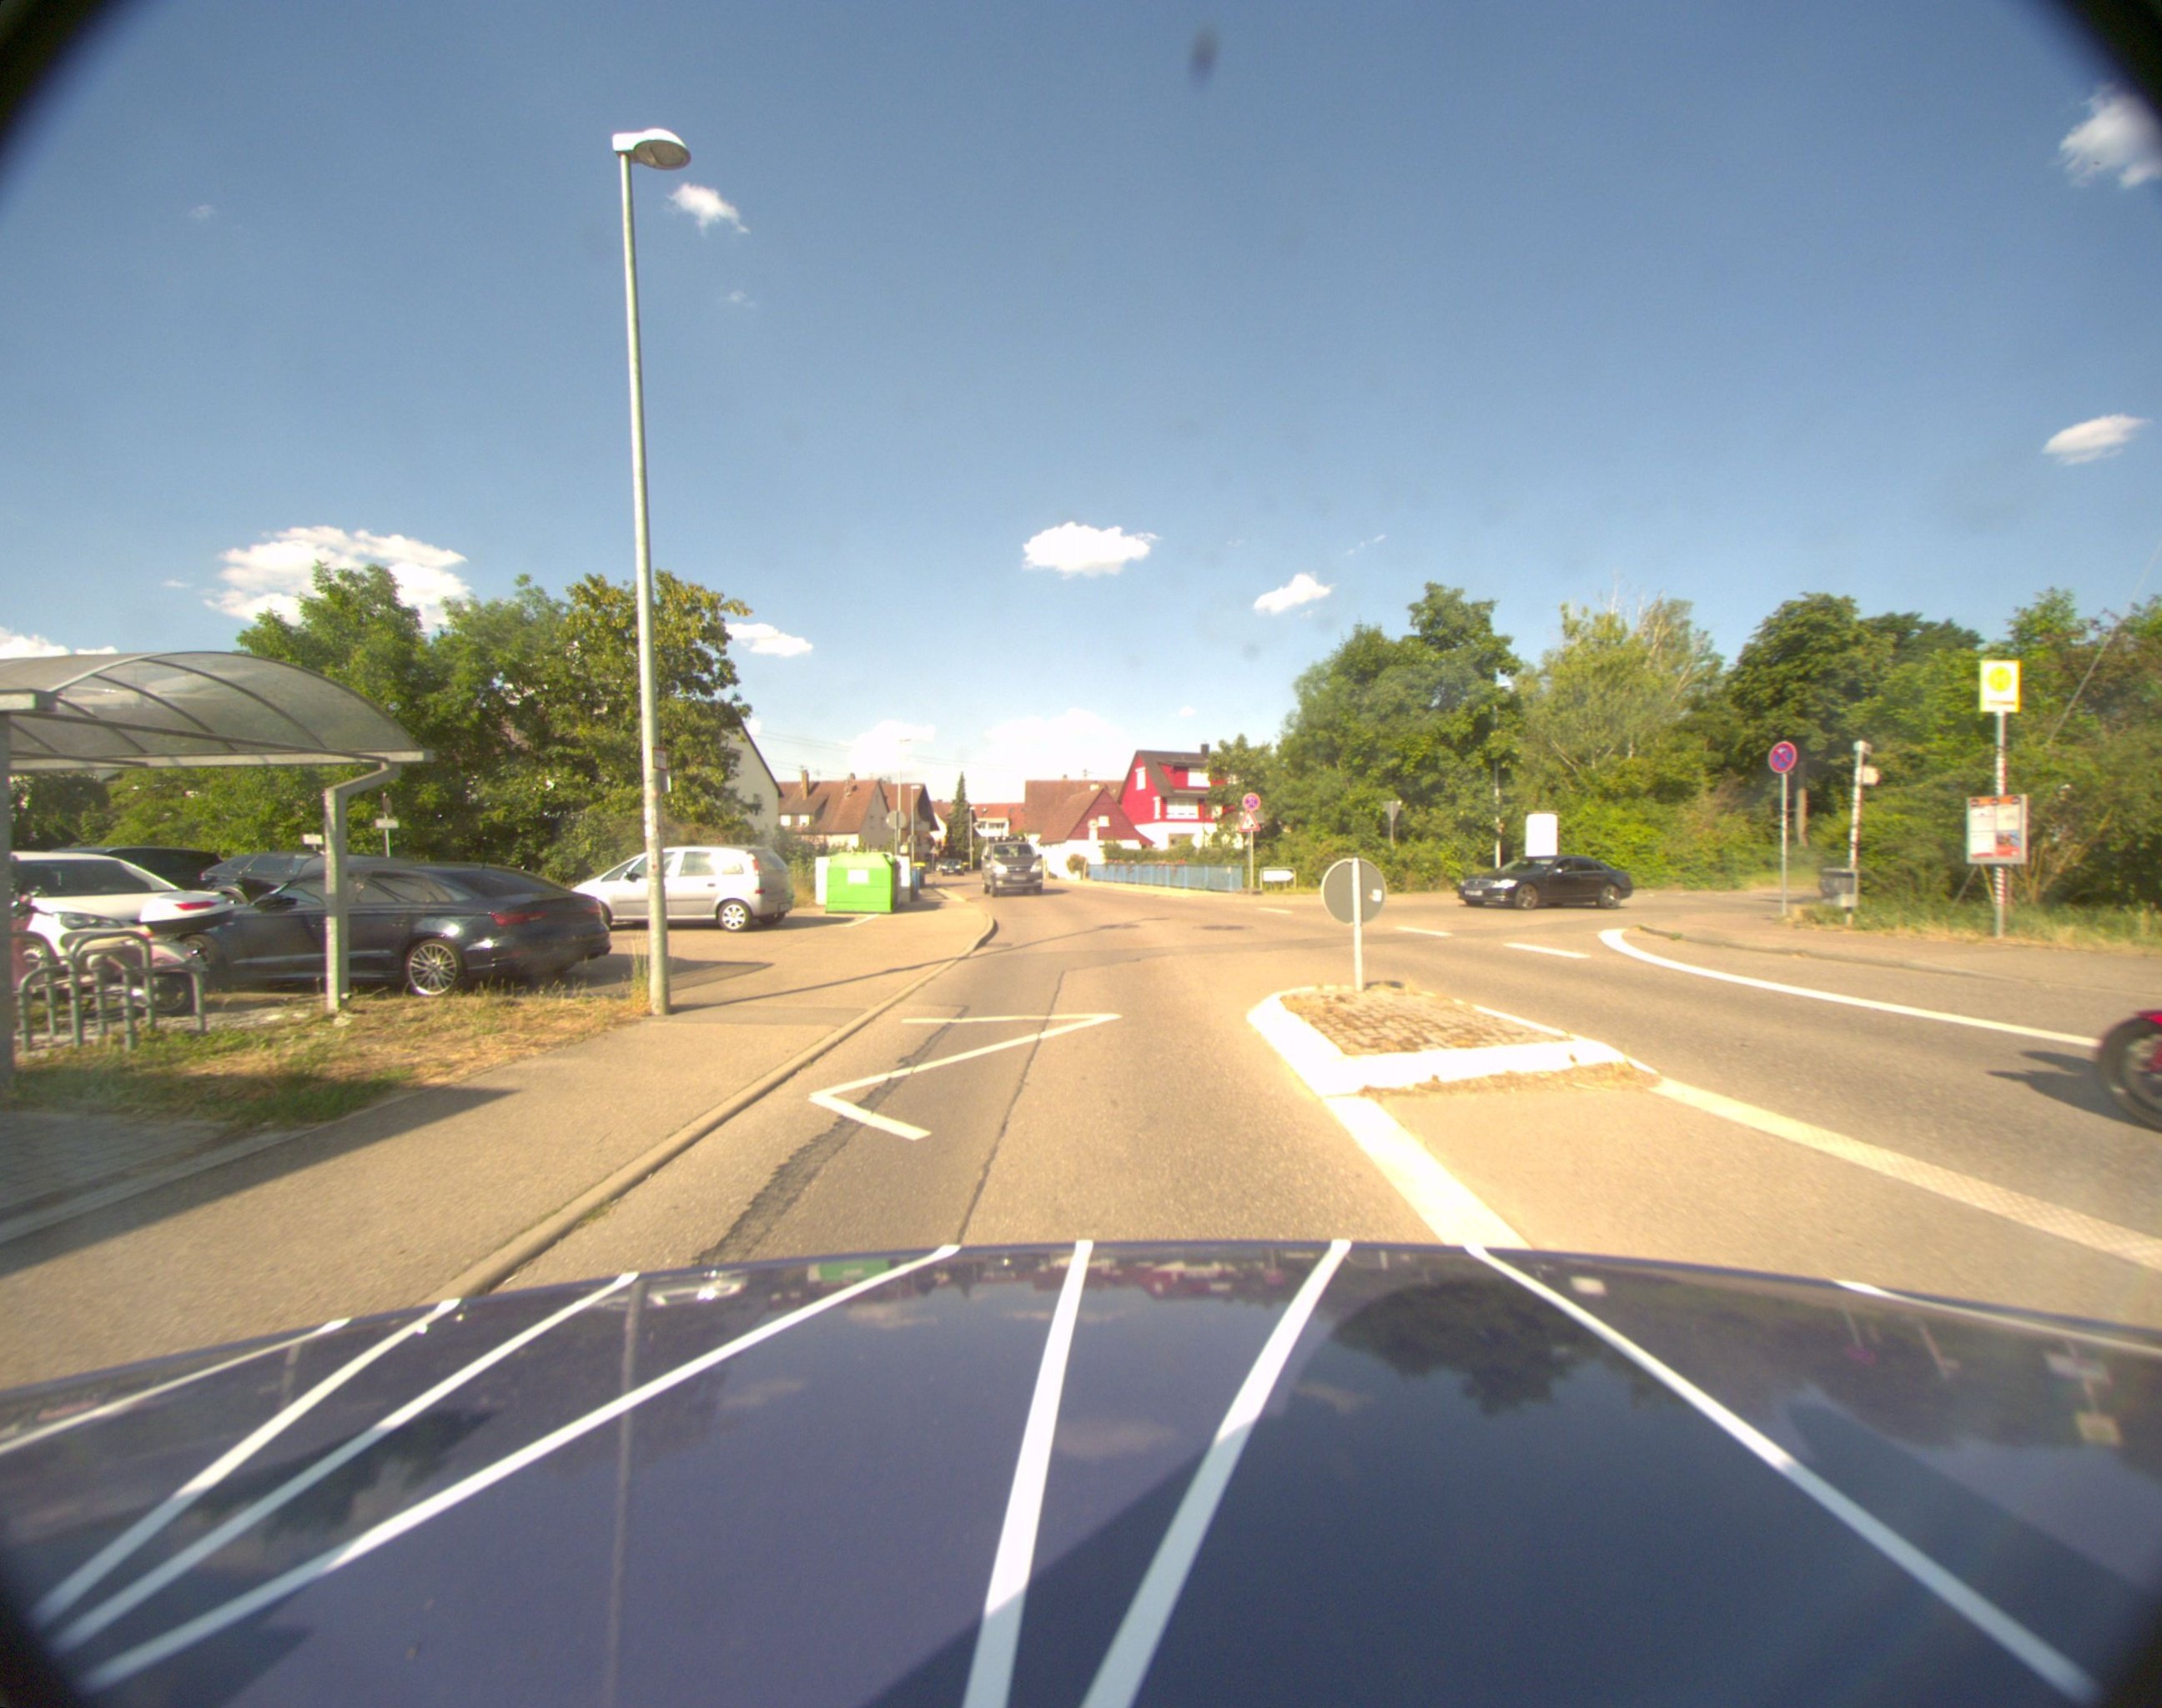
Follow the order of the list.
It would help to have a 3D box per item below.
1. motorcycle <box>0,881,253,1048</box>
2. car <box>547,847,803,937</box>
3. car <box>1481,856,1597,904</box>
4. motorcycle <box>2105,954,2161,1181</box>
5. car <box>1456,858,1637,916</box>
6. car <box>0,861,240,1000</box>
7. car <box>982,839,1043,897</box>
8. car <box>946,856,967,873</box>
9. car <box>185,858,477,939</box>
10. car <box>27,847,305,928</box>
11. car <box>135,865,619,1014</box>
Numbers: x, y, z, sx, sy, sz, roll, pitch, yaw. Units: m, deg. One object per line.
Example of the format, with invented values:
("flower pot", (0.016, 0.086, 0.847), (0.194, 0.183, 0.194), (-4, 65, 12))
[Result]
("motorcycle", (-8.521, 0.911, 6.513), (1.832, 1.316, 0.639), (1, 0, -17))
("car", (-7.607, 0.681, 14.491), (3.949, 1.594, 1.682), (0, 1, 1))
("car", (15.573, 0.822, 25.788), (4.283, 1.483, 1.857), (0, 1, -36))
("motorcycle", (5.218, 0.992, 2.646), (0.539, 1.007, 2.027), (-3, 1, -1))
("car", (12.835, 0.833, 20.927), (4.850, 1.423, 1.767), (0, 1, -23))
("car", (-12.464, 0.833, 9.041), (3.444, 1.408, 1.499), (1, 1, 5))
("car", (-2.690, 0.484, 29.016), (1.821, 1.988, 4.816), (-1, 1, -11))
("car", (-12.261, 1.000, 74.731), (1.974, 1.646, 3.996), (1, 0, -9))
("car", (-14.343, 0.809, 14.690), (3.949, 1.440, 1.682), (0, 1, 1))
("car", (-20.769, 0.681, 17.556), (1.681, 1.643, 3.951), (0, 0, -2))
("car", (-7.750, 0.882, 8.612), (4.074, 1.408, 1.626), (1, 1, 3))
